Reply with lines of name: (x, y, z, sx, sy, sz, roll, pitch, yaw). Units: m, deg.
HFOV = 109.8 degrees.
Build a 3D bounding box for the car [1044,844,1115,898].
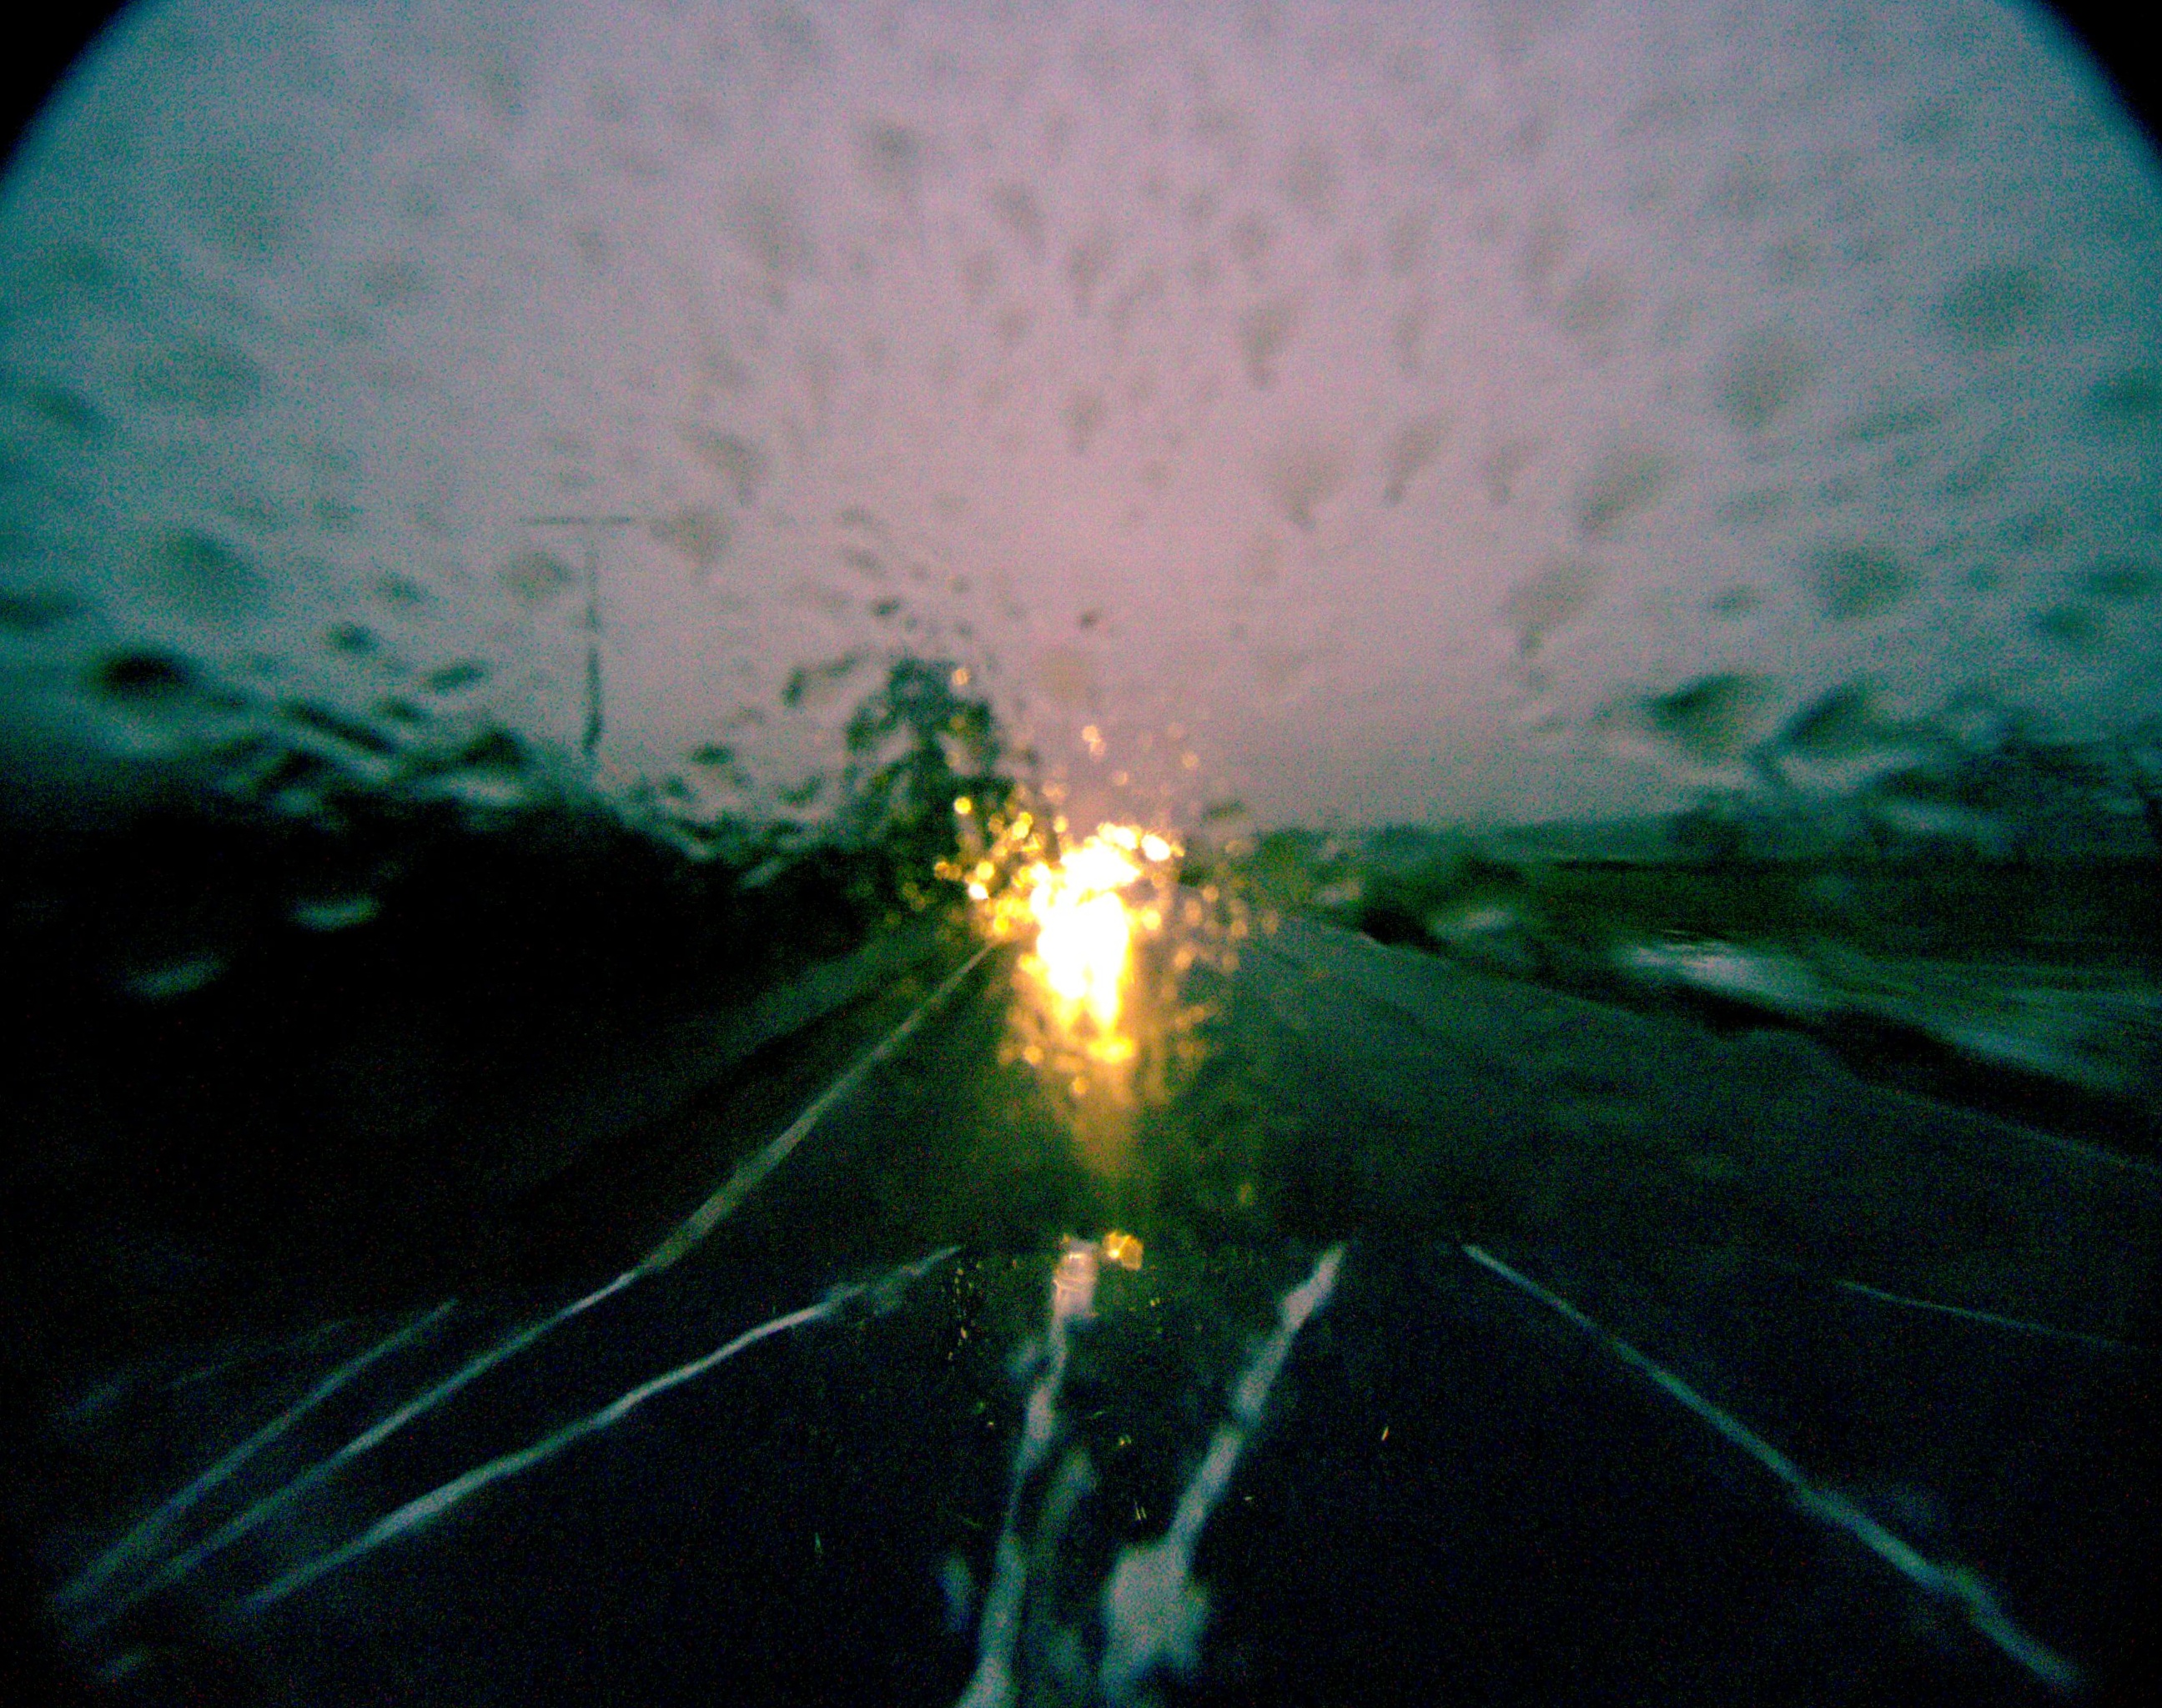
car: (-0.002, 0.624, 32.419, 2.705, 1.974, 5.803, -2, 1, 1)
